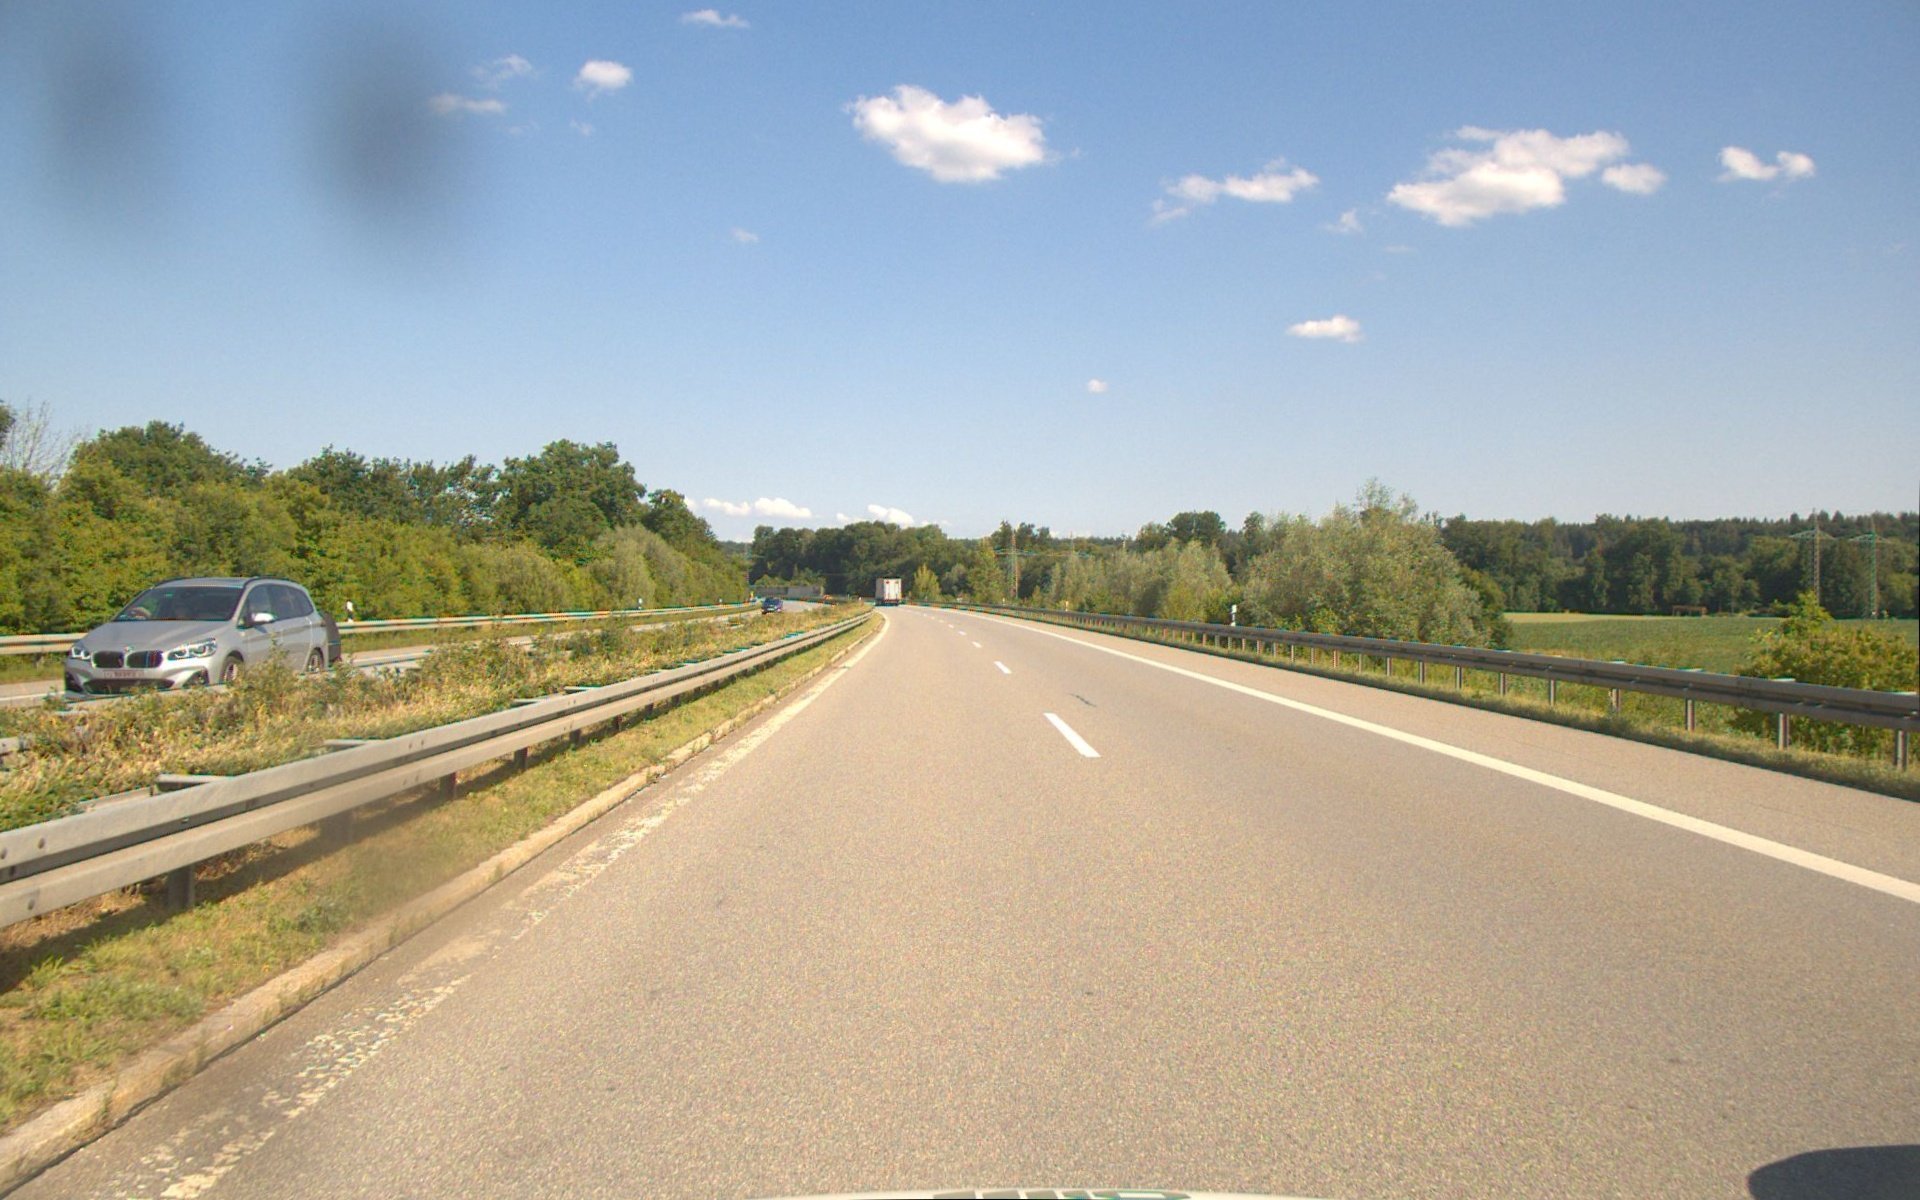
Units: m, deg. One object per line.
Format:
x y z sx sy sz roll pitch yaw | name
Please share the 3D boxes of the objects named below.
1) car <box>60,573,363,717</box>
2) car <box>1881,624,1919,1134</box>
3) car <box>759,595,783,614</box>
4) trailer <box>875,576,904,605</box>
-9.370 0.490 21.224 1.871 1.616 4.914 0 0 -3 | car
3.593 0.820 2.630 1.684 1.424 4.412 3 0 -1 | car
-15.523 0.376 136.114 1.642 1.466 3.998 -1 0 -3 | car
-10.699 -1.496 248.693 2.832 4.137 12.392 -1 1 -10 | trailer
